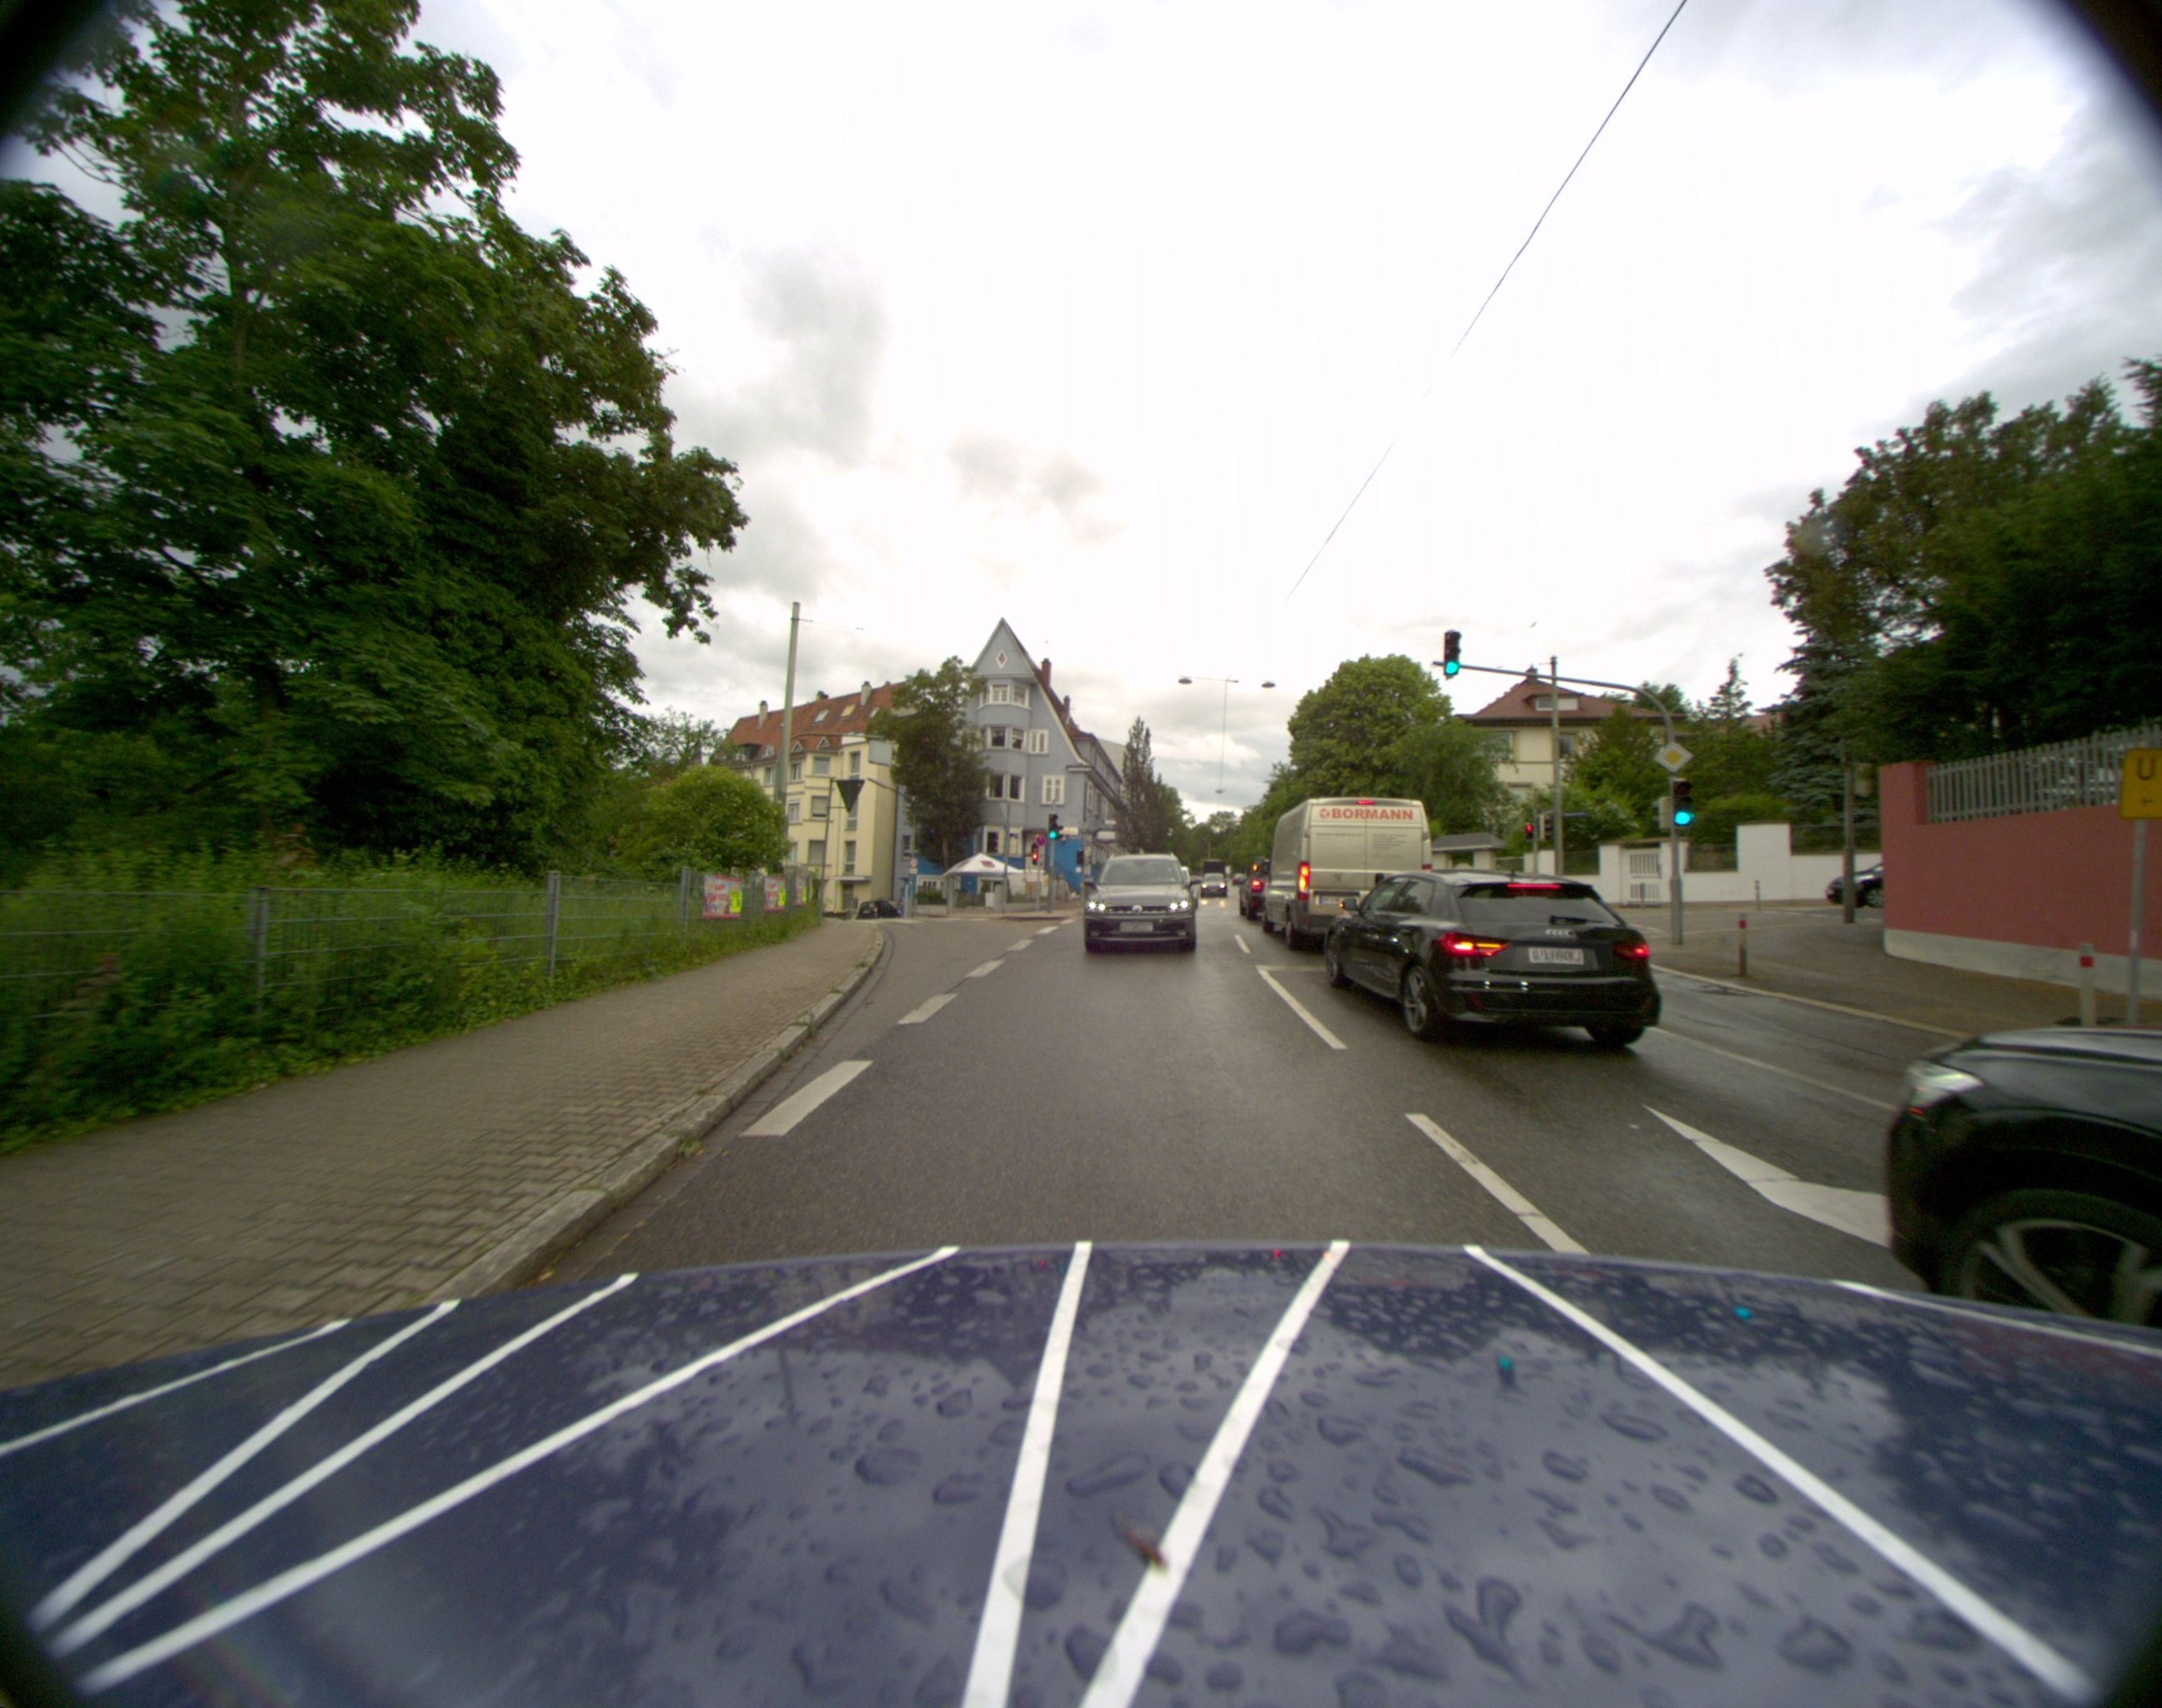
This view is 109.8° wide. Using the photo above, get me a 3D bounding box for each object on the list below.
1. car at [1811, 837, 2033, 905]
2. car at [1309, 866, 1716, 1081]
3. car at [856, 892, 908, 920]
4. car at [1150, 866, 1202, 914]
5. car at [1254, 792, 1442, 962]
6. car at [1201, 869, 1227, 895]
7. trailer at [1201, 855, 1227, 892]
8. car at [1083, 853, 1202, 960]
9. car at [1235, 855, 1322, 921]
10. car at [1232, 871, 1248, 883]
[{"bbox_3d":[21.337,0.490,19.491,3.358,1.428,1.676,-4,-8,29],"label":"car"},{"bbox_3d":[3.693,0.889,7.468,1.819,1.421,4.000,1,0,2],"label":"car"},{"bbox_3d":[-12.645,3.286,48.463,1.637,1.488,3.148,-6,-3,19],"label":"car"},{"bbox_3d":[3.572,1.289,28.737,1.785,1.631,4.202,1,0,7],"label":"car"},{"bbox_3d":[4.631,0.340,14.208,2.121,2.531,5.543,1,0,7],"label":"car"},{"bbox_3d":[9.298,1.928,53.136,1.735,1.610,3.478,-1,0,10],"label":"car"},{"bbox_3d":[9.857,1.411,56.330,1.769,2.610,3.035,-1,1,10],"label":"trailer"},{"bbox_3d":[1.280,0.818,13.941,1.784,1.631,4.203,1,0,10],"label":"car"},{"bbox_3d":[5.403,0.898,21.281,1.825,1.642,4.349,0,-1,7],"label":"car"},{"bbox_3d":[19.789,2.889,94.681,1.855,1.477,5.374,1,-2,13],"label":"car"}]
